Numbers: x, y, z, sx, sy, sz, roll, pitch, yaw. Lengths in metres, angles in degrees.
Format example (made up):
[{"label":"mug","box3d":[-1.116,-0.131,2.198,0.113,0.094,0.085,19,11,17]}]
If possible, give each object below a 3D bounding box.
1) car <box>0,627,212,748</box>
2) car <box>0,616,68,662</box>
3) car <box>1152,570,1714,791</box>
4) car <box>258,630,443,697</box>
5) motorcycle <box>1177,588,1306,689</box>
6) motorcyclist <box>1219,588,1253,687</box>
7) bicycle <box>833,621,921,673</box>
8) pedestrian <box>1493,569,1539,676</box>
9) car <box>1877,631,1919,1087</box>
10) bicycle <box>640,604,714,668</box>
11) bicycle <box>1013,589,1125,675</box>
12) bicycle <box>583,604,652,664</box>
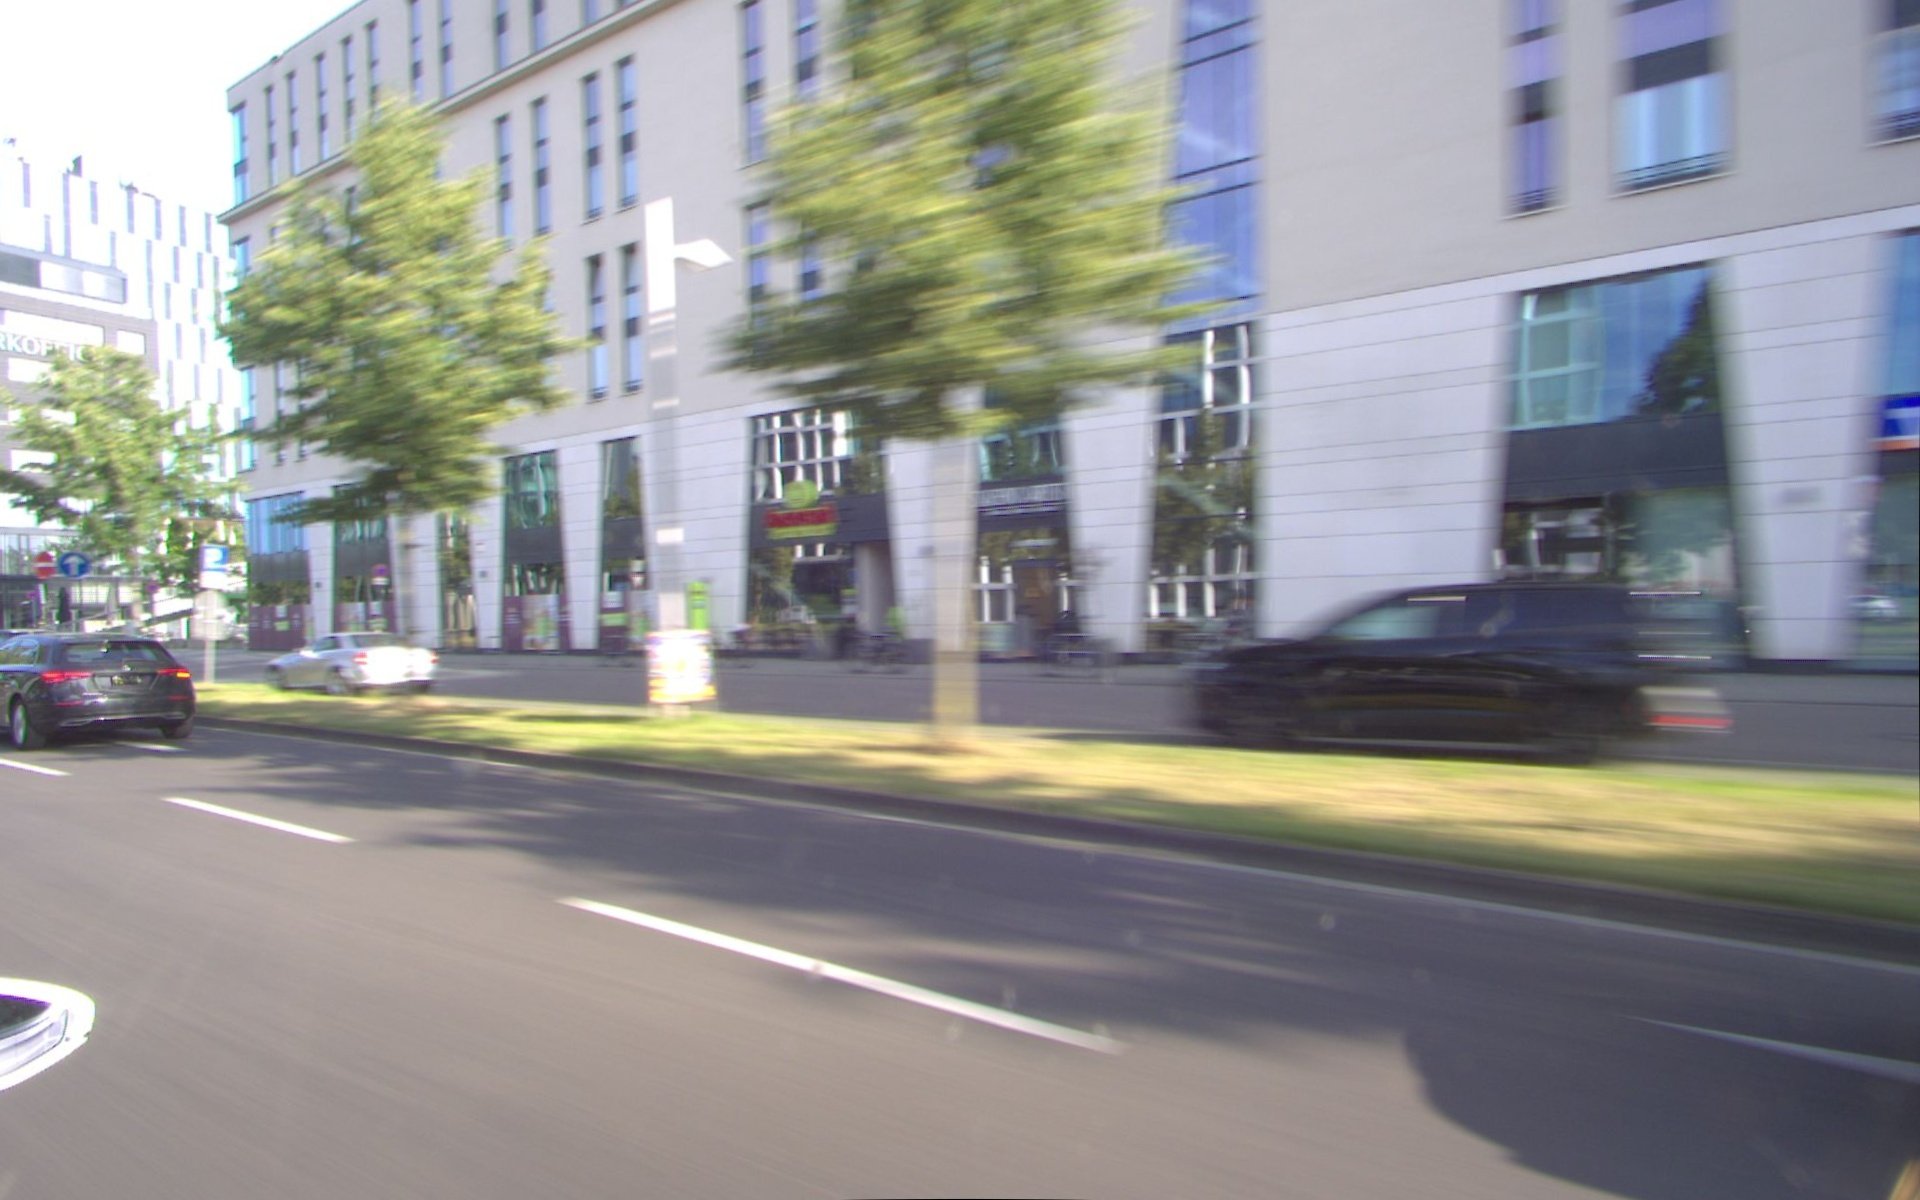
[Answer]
[{"label":"car","box3d":[-12.171,1.123,13.790,3.906,1.442,1.771,-2,-2,33]},{"label":"car","box3d":[-30.093,1.258,32.039,4.105,1.388,1.601,-2,-2,38]},{"label":"car","box3d":[4.417,0.678,9.860,4.609,1.730,1.895,0,-2,31]},{"label":"car","box3d":[-12.574,1.272,20.617,3.849,1.258,1.706,-2,-2,32]},{"label":"motorcycle","box3d":[4.841,0.660,17.253,1.982,1.640,0.699,-2,3,30]},{"label":"motorcyclist","box3d":[4.759,0.640,17.256,0.411,1.663,0.622,-1,2,29]},{"label":"bicycle","box3d":[-1.856,1.048,22.360,1.874,1.098,0.633,-2,0,25]},{"label":"pedestrian","box3d":[9.505,0.392,17.121,0.637,1.785,0.536,-1,-2,33]},{"label":"car","box3d":[4.535,0.779,1.960,3.857,1.442,1.555,-1,-2,36]},{"label":"bicycle","box3d":[-7.333,0.943,25.928,2.182,1.587,0.554,-2,-2,33]},{"label":"bicycle","box3d":[2.145,0.656,19.932,2.182,1.639,0.554,-2,-2,33]},{"label":"bicycle","box3d":[-9.396,0.948,27.433,2.245,1.590,0.554,-2,-2,33]}]
